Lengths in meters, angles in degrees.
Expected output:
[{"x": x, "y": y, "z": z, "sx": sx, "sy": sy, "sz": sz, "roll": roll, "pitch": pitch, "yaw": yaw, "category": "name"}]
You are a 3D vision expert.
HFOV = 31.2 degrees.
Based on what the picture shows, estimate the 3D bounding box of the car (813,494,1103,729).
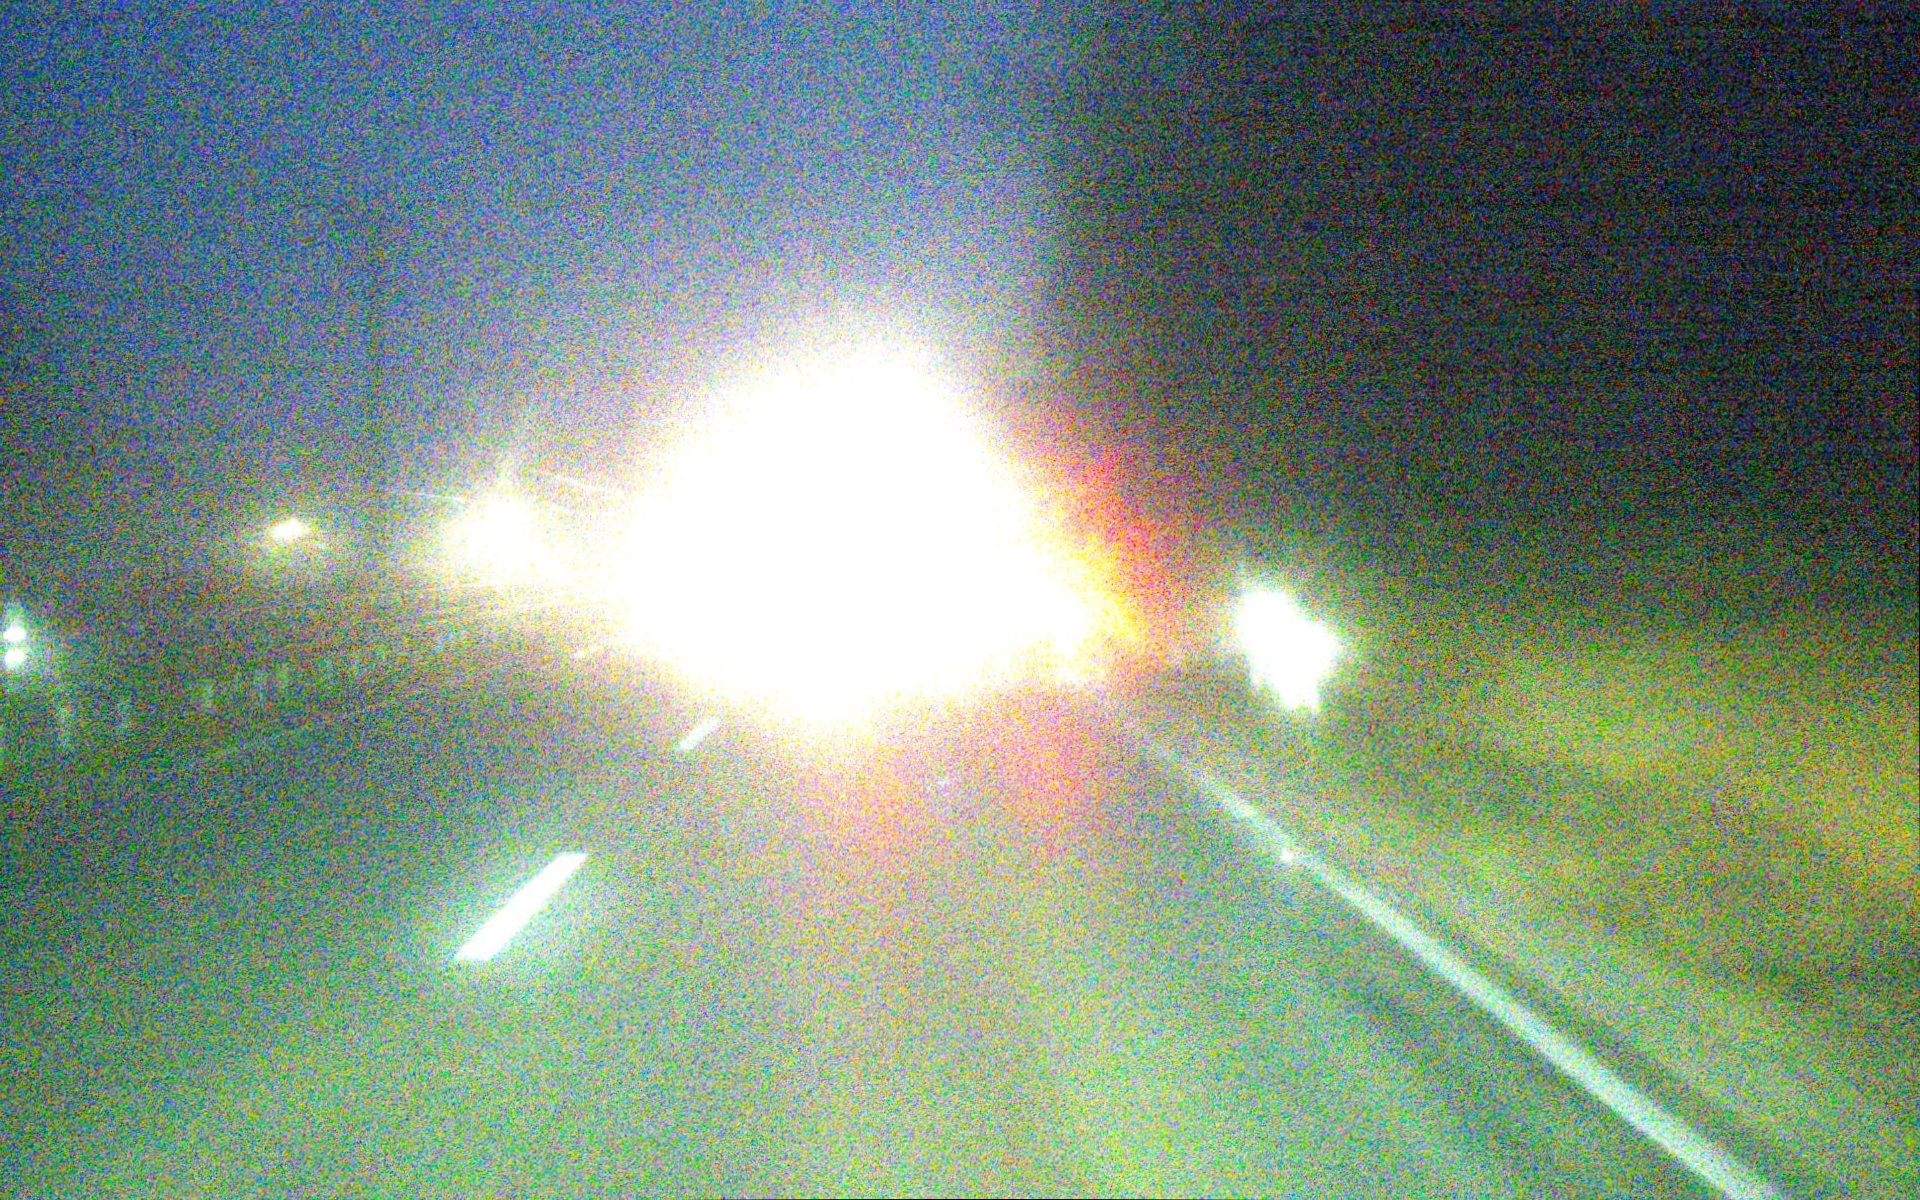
[{"x": -0.005, "y": 0.128, "z": 32.797, "sx": 2.458, "sy": 1.952, "sz": 4.911, "roll": -3, "pitch": -1, "yaw": 0, "category": "car"}]

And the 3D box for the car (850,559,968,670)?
[{"x": -1.073, "y": 0.272, "z": 69.982, "sx": 1.993, "sy": 2.007, "sz": 4.001, "roll": -5, "pitch": 1, "yaw": -4, "category": "car"}]
